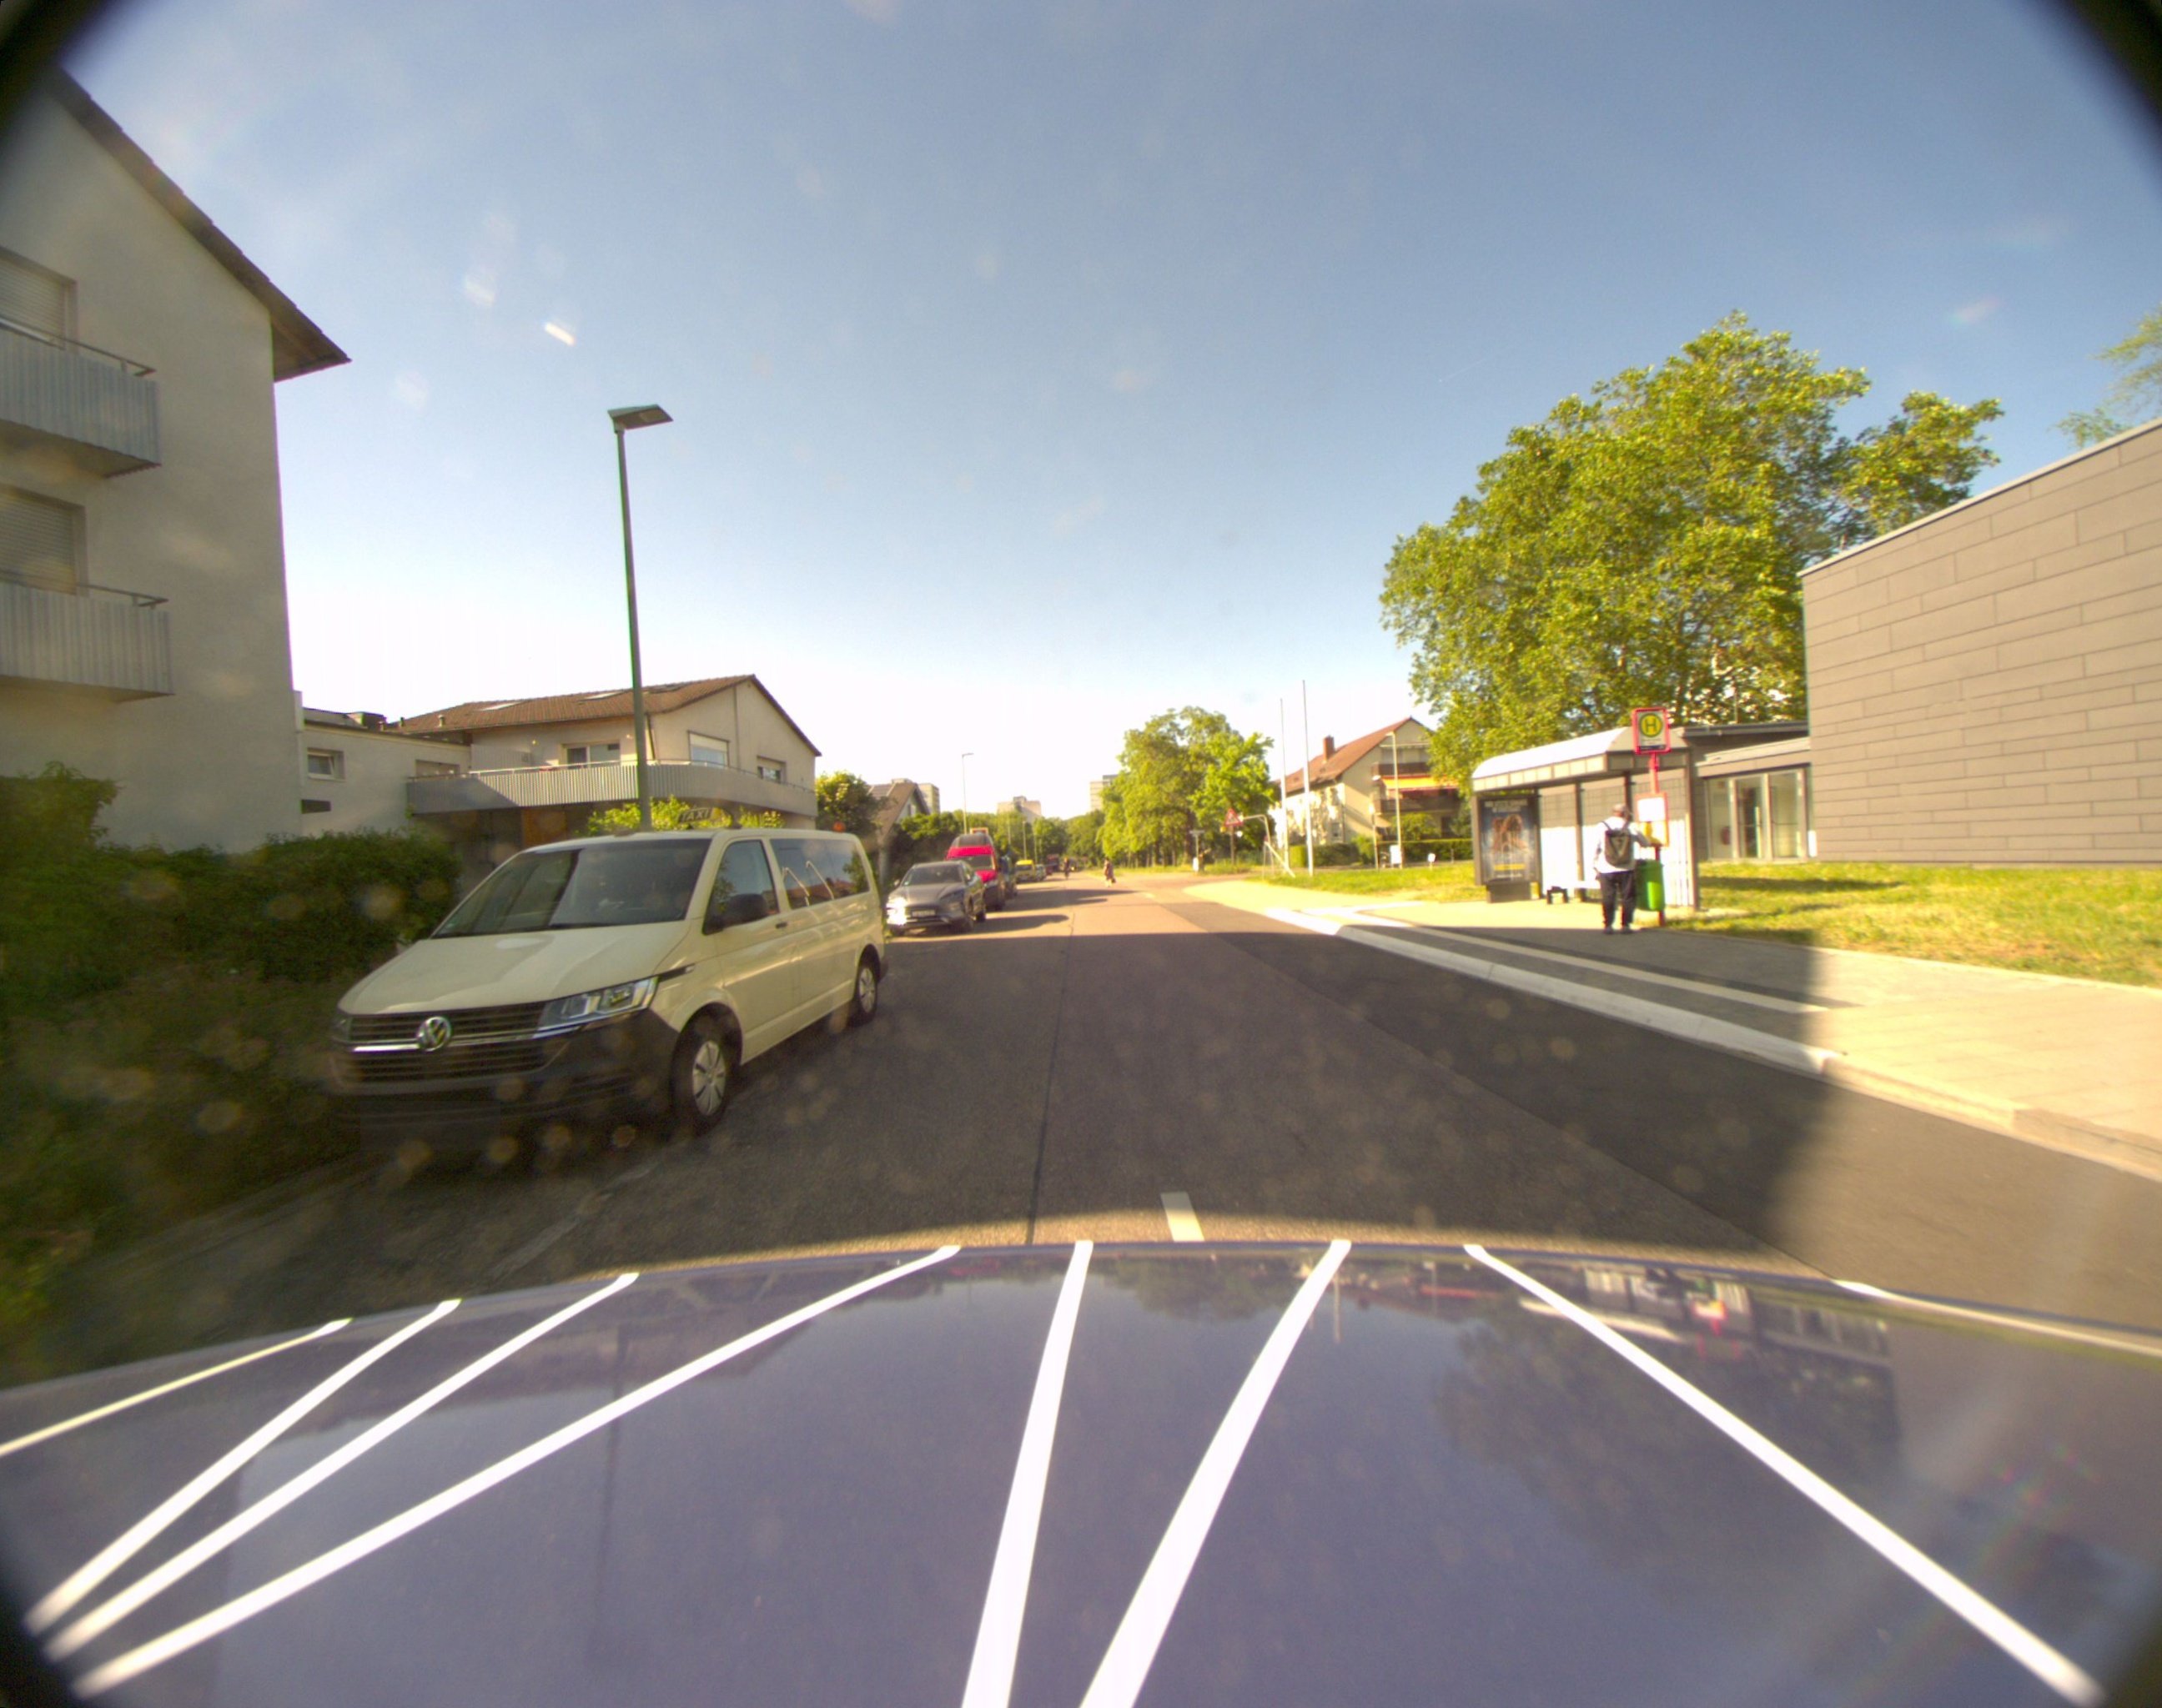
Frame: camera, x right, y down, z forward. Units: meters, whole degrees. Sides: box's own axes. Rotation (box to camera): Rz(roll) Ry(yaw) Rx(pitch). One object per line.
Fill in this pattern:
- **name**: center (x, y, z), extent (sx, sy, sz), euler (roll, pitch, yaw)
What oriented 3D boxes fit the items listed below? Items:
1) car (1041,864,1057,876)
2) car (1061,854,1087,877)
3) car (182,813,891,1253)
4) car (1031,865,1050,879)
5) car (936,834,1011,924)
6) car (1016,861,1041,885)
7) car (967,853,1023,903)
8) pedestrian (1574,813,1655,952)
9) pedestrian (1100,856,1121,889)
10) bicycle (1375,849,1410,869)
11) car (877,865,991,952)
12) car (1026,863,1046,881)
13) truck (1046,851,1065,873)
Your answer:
- **car**: center (-4.820, 2.432, 115.058), extent (1.998, 1.587, 4.578), euler (-3, 0, 1)
- **car**: center (-0.660, 0.985, 69.683), extent (1.966, 1.908, 4.575), euler (-3, 1, -5)
- **car**: center (-3.236, 0.869, 5.985), extent (1.998, 2.067, 4.578), euler (-3, 1, 3)
- **car**: center (-4.756, 2.091, 88.940), extent (1.999, 1.587, 4.578), euler (-3, -1, -1)
- **car**: center (-3.520, 0.774, 25.837), extent (1.962, 2.629, 5.222), euler (-4, 0, -3)
- **car**: center (-4.083, 1.461, 59.518), extent (1.621, 1.766, 3.981), euler (-3, 0, -1)
- **car**: center (-3.661, 0.987, 32.976), extent (1.862, 1.837, 4.559), euler (-5, 0, -1)
- **pedestrian**: center (7.264, 0.377, 10.337), extent (0.716, 1.792, 0.772), euler (-5, 0, 40)
- **pedestrian**: center (1.445, 0.885, 37.087), extent (0.834, 1.578, 0.632), euler (1, 3, 18)
- **bicycle**: center (16.307, 0.262, 39.812), extent (1.598, 0.978, 0.500), euler (-4, -2, 15)
- **car**: center (-3.472, 1.223, 18.883), extent (1.962, 1.727, 4.576), euler (-4, 0, -2)
- **car**: center (-4.200, 1.649, 71.155), extent (1.621, 1.478, 3.981), euler (-3, 0, -1)
- **truck**: center (-5.661, 1.821, 170.034), extent (3.602, 4.543, 10.023), euler (-3, 0, 0)
